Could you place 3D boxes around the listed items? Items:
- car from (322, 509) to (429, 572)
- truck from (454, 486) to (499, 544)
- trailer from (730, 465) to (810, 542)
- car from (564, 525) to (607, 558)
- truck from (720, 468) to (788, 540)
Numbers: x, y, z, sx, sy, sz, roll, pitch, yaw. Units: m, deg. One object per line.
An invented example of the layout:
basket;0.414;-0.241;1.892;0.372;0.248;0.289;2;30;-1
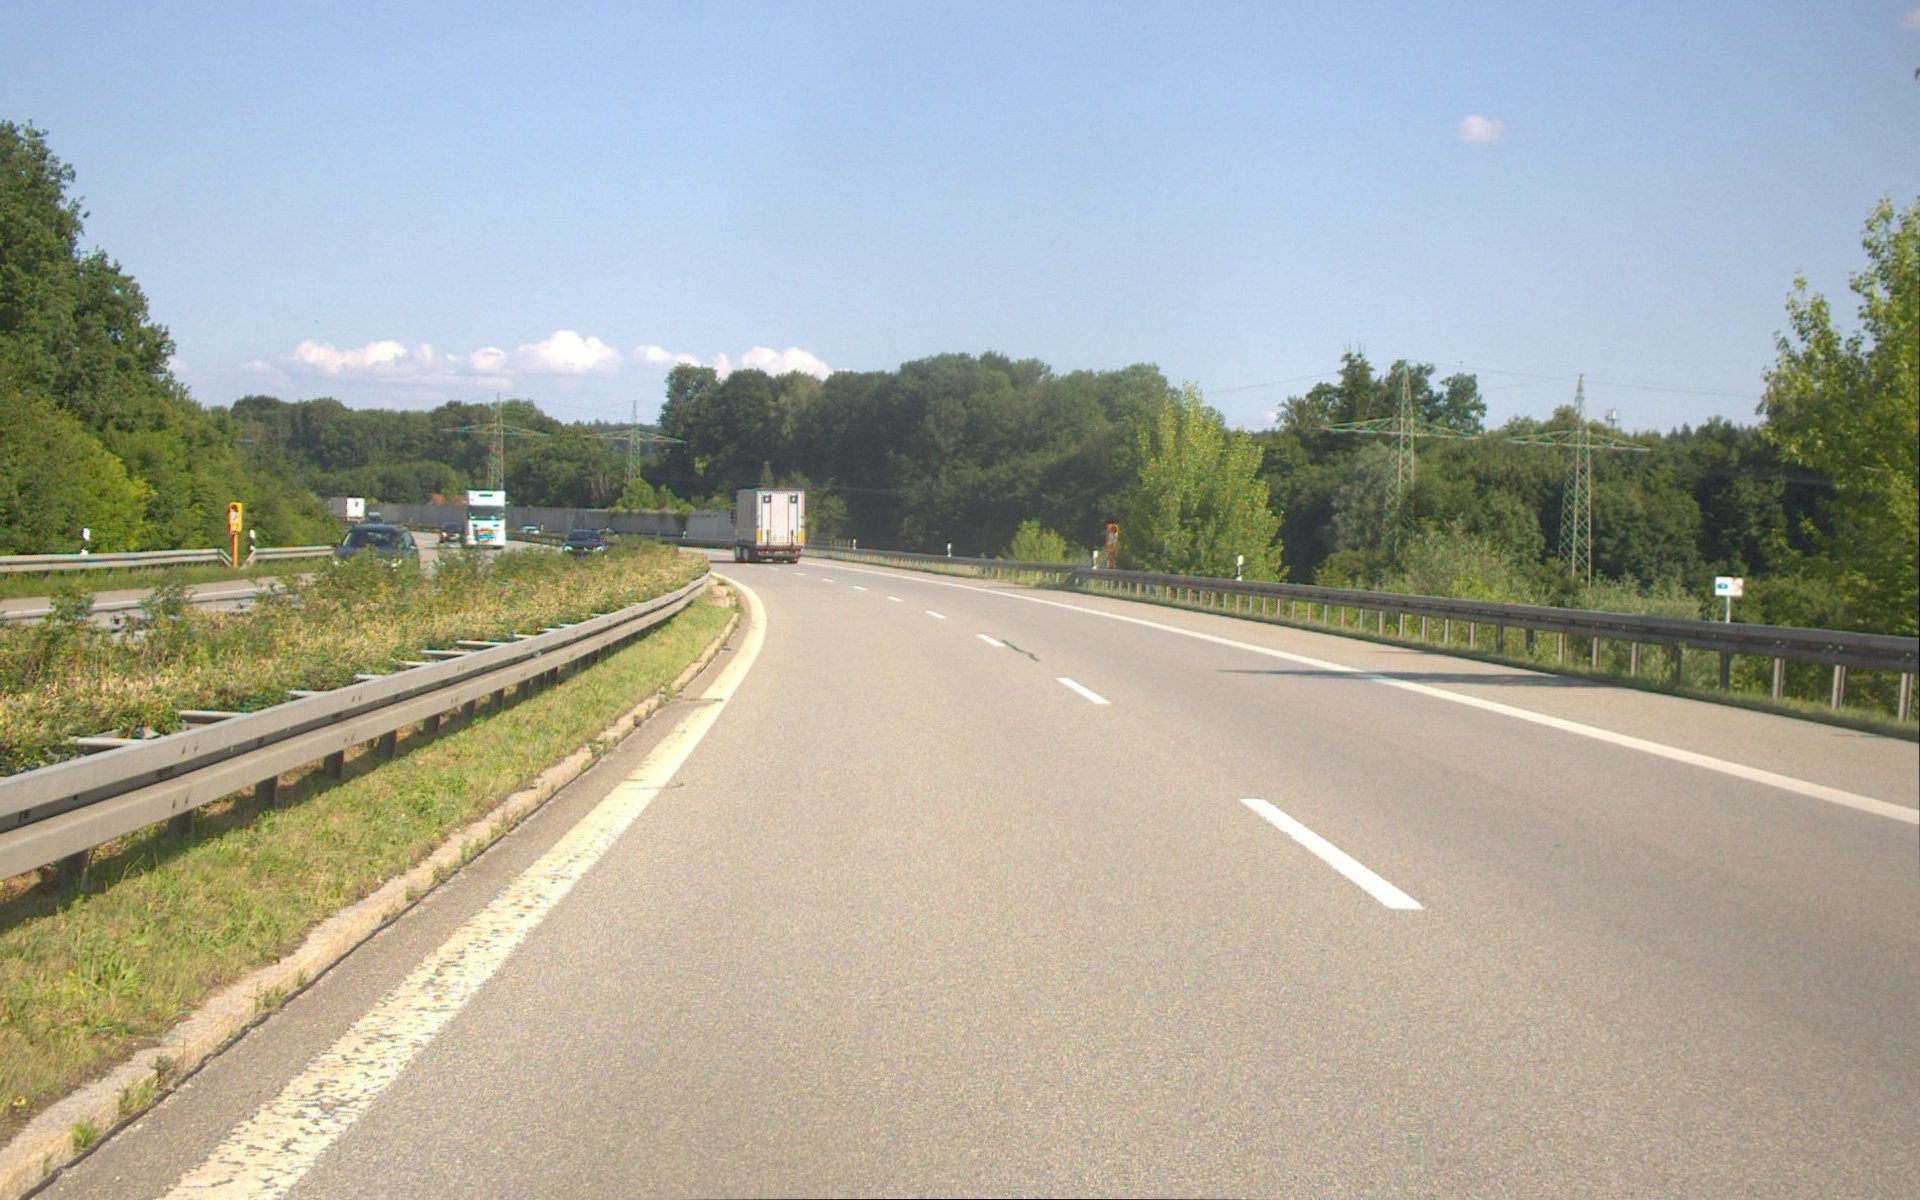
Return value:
car;-13.840;-1.425;81.592;1.993;1.427;4.487;0;1;-3
truck;-31.452;-5.497;223.623;2.740;3.714;5.973;0;1;-9
trailer;-10.508;-5.301;188.865;2.883;4.052;12.424;0;1;-10
car;-16.368;-2.568;150.061;1.728;1.423;3.882;0;1;-8
truck;-11.719;-5.432;195.240;2.829;3.998;6.589;0;1;-12
